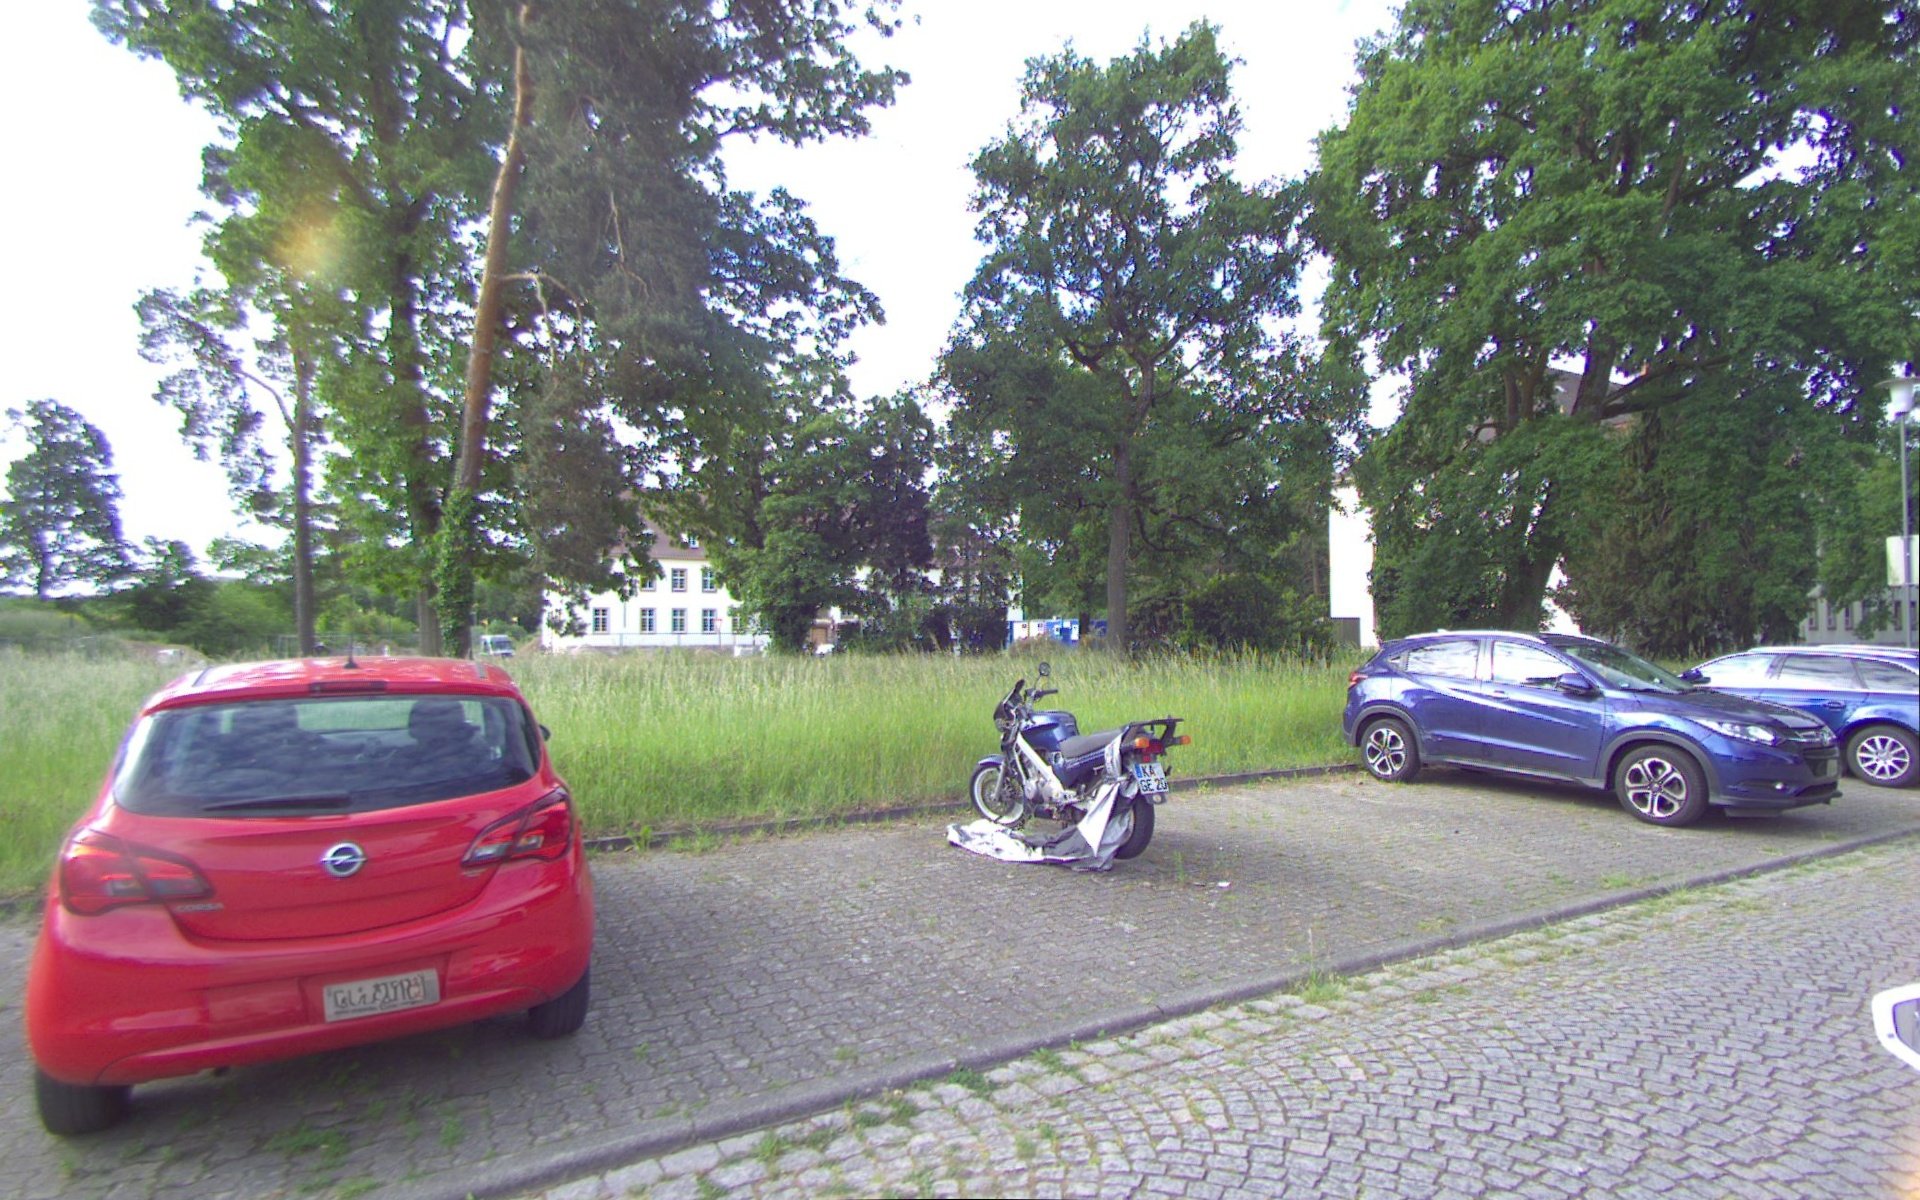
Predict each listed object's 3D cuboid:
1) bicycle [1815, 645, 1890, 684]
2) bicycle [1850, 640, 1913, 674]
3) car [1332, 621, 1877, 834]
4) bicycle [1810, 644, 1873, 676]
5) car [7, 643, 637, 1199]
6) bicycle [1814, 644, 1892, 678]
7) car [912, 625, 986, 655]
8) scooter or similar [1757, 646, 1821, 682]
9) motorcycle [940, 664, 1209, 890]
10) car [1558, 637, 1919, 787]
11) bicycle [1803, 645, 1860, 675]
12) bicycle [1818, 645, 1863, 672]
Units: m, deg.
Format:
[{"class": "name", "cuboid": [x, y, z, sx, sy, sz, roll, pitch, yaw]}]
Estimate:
[{"class": "bicycle", "cuboid": [30.311, 2.169, 34.134, 1.874, 1.239, 0.640, -2, 0, 42]}, {"class": "bicycle", "cuboid": [33.883, 2.079, 36.971, 1.617, 1.201, 0.572, -2, 0, 35]}, {"class": "car", "cuboid": [5.904, 1.043, 9.768, 1.769, 1.593, 4.118, 2, -3, -30]}, {"class": "bicycle", "cuboid": [31.563, 2.154, 35.992, 1.601, 1.088, 0.538, -2, 0, 31]}, {"class": "car", "cuboid": [-2.790, 0.994, 4.833, 1.651, 1.498, 3.867, 1, -1, -29]}, {"class": "bicycle", "cuboid": [30.758, 2.094, 34.636, 1.963, 1.129, 0.640, -2, -1, 42]}, {"class": "car", "cuboid": [-0.853, 3.160, 78.885, 5.466, 2.237, 2.109, 2, 0, -30]}, {"class": "scooter or similar", "cuboid": [28.894, 2.223, 35.041, 0.673, 1.210, 1.543, 0, -2, -26]}, {"class": "motorcycle", "cuboid": [0.724, 1.158, 7.353, 0.735, 1.305, 2.346, 0, -2, -29]}, {"class": "car", "cuboid": [9.856, 1.213, 12.035, 1.662, 1.499, 4.412, 0, -2, -29]}, {"class": "bicycle", "cuboid": [32.265, 2.227, 37.199, 1.490, 1.049, 0.544, -2, 0, 31]}, {"class": "bicycle", "cuboid": [34.173, 2.280, 38.999, 1.245, 1.042, 0.431, -4, -6, 42]}]
